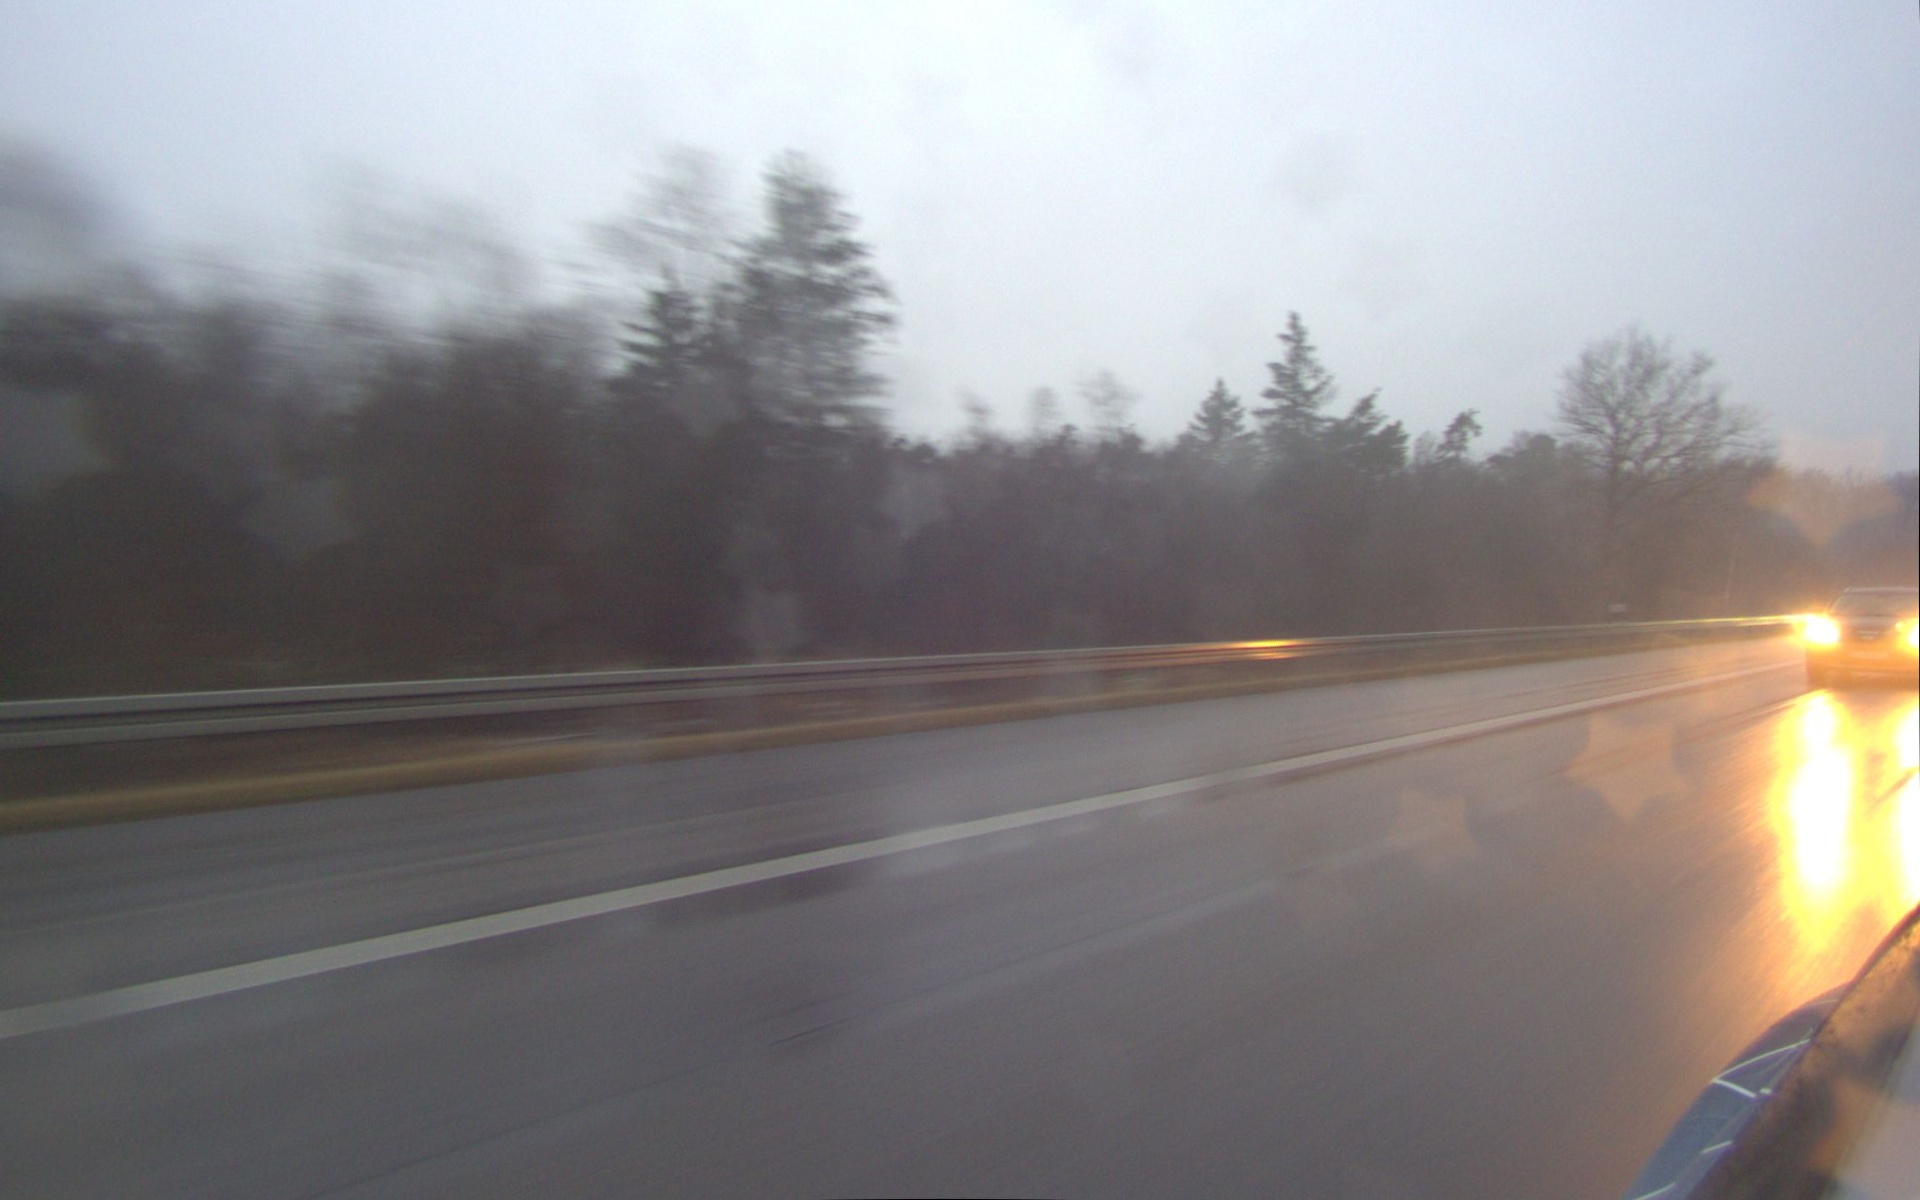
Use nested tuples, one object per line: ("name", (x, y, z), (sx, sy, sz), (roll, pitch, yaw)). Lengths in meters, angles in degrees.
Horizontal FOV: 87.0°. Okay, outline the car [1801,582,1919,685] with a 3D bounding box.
("car", (17.303, 0.543, 18.643), (4.382, 1.719, 2.074), (0, 1, -40))
